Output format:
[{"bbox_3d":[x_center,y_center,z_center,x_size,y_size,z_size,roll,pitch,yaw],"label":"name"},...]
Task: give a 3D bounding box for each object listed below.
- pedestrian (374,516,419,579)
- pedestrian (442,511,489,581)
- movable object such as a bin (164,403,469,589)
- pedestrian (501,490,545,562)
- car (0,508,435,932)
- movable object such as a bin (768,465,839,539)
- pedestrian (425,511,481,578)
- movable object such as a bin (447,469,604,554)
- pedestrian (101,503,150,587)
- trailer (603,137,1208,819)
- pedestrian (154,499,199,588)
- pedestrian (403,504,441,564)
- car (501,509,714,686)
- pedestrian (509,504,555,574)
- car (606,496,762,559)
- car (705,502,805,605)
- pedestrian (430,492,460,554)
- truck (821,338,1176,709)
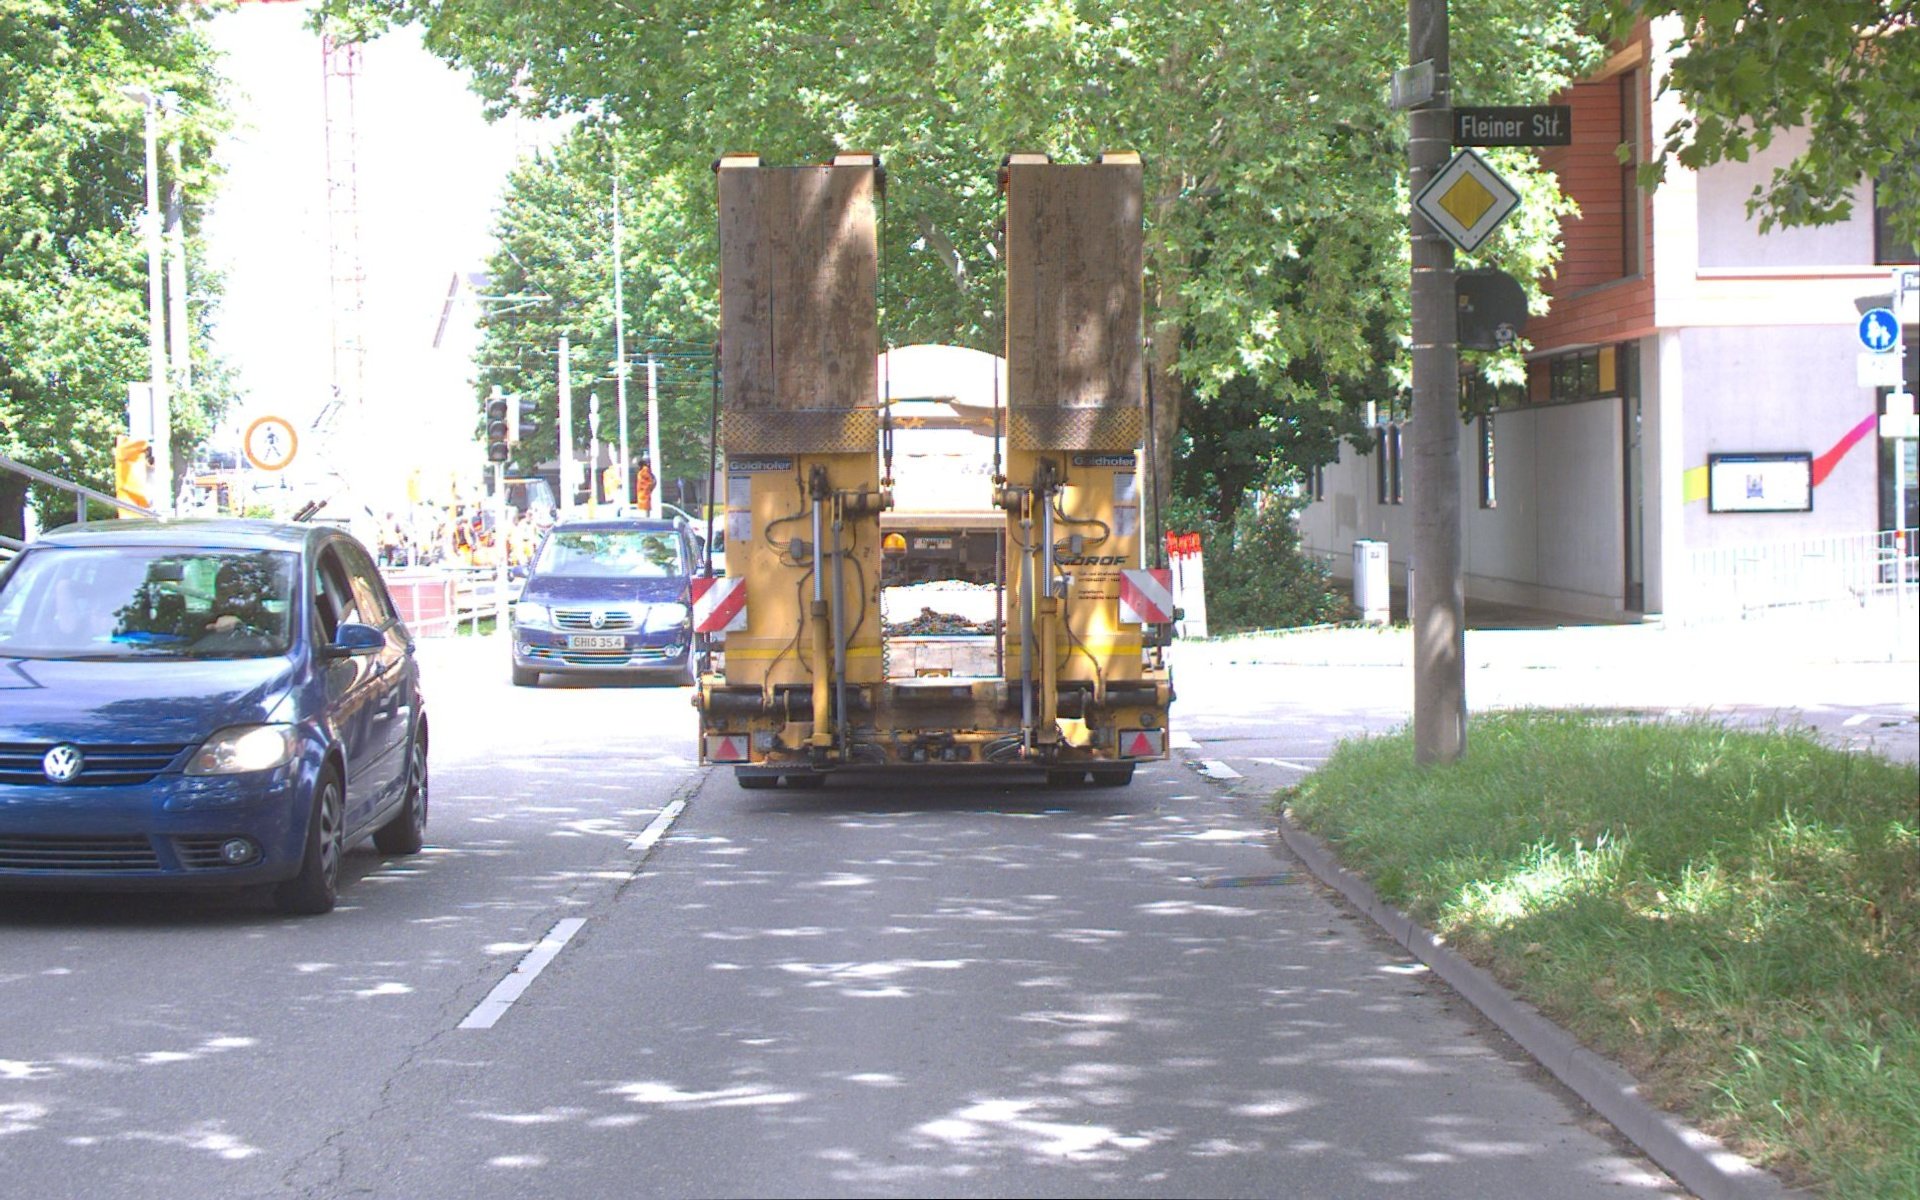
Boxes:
[{"bbox_3d":[-14.890,-1.387,90.812,0.885,1.639,0.900,0,1,-31],"label":"pedestrian"},{"bbox_3d":[-12.576,-1.374,87.468,0.886,1.754,0.836,1,1,20],"label":"pedestrian"},{"bbox_3d":[-19.278,-3.082,102.785,9.215,5.396,2.660,1,1,26],"label":"movable object such as a bin"},{"bbox_3d":[-11.300,-1.907,88.886,0.885,1.860,0.837,0,1,-29],"label":"pedestrian"},{"bbox_3d":[-3.349,0.420,14.610,1.696,1.559,3.861,0,1,-1],"label":"car"},{"bbox_3d":[-4.302,-2.682,94.555,1.399,2.007,2.555,0,1,11],"label":"movable object such as a bin"},{"bbox_3d":[-13.195,-1.451,89.483,1.108,1.709,0.888,-1,2,-45],"label":"pedestrian"},{"bbox_3d":[-13.564,-2.757,107.345,4.373,2.620,2.217,1,1,26],"label":"movable object such as a bin"},{"bbox_3d":[-16.140,-1.064,66.512,0.732,1.620,0.867,0,1,0],"label":"pedestrian"},{"bbox_3d":[-0.013,-0.748,23.470,3.154,3.540,11.096,0,1,3],"label":"trailer"},{"bbox_3d":[-15.248,-1.106,66.920,0.699,1.712,0.867,0,1,0],"label":"pedestrian"},{"bbox_3d":[-14.744,-1.817,94.198,0.885,1.639,0.837,0,1,-20],"label":"pedestrian"},{"bbox_3d":[-3.442,-0.063,34.178,1.753,1.627,4.119,1,1,-1],"label":"car"},{"bbox_3d":[-11.431,-1.624,91.765,0.887,1.860,0.836,1,1,28],"label":"pedestrian"},{"bbox_3d":[-9.611,-2.518,119.643,5.088,2.095,1.977,1,1,-14],"label":"car"},{"bbox_3d":[-3.823,-0.841,64.662,1.753,1.834,4.646,-1,0,-2],"label":"car"},{"bbox_3d":[-15.490,-2.312,103.408,0.834,1.860,0.888,0,1,-12],"label":"pedestrian"},{"bbox_3d":[0.536,-0.728,32.925,2.989,3.124,7.887,0,1,3],"label":"truck"}]
